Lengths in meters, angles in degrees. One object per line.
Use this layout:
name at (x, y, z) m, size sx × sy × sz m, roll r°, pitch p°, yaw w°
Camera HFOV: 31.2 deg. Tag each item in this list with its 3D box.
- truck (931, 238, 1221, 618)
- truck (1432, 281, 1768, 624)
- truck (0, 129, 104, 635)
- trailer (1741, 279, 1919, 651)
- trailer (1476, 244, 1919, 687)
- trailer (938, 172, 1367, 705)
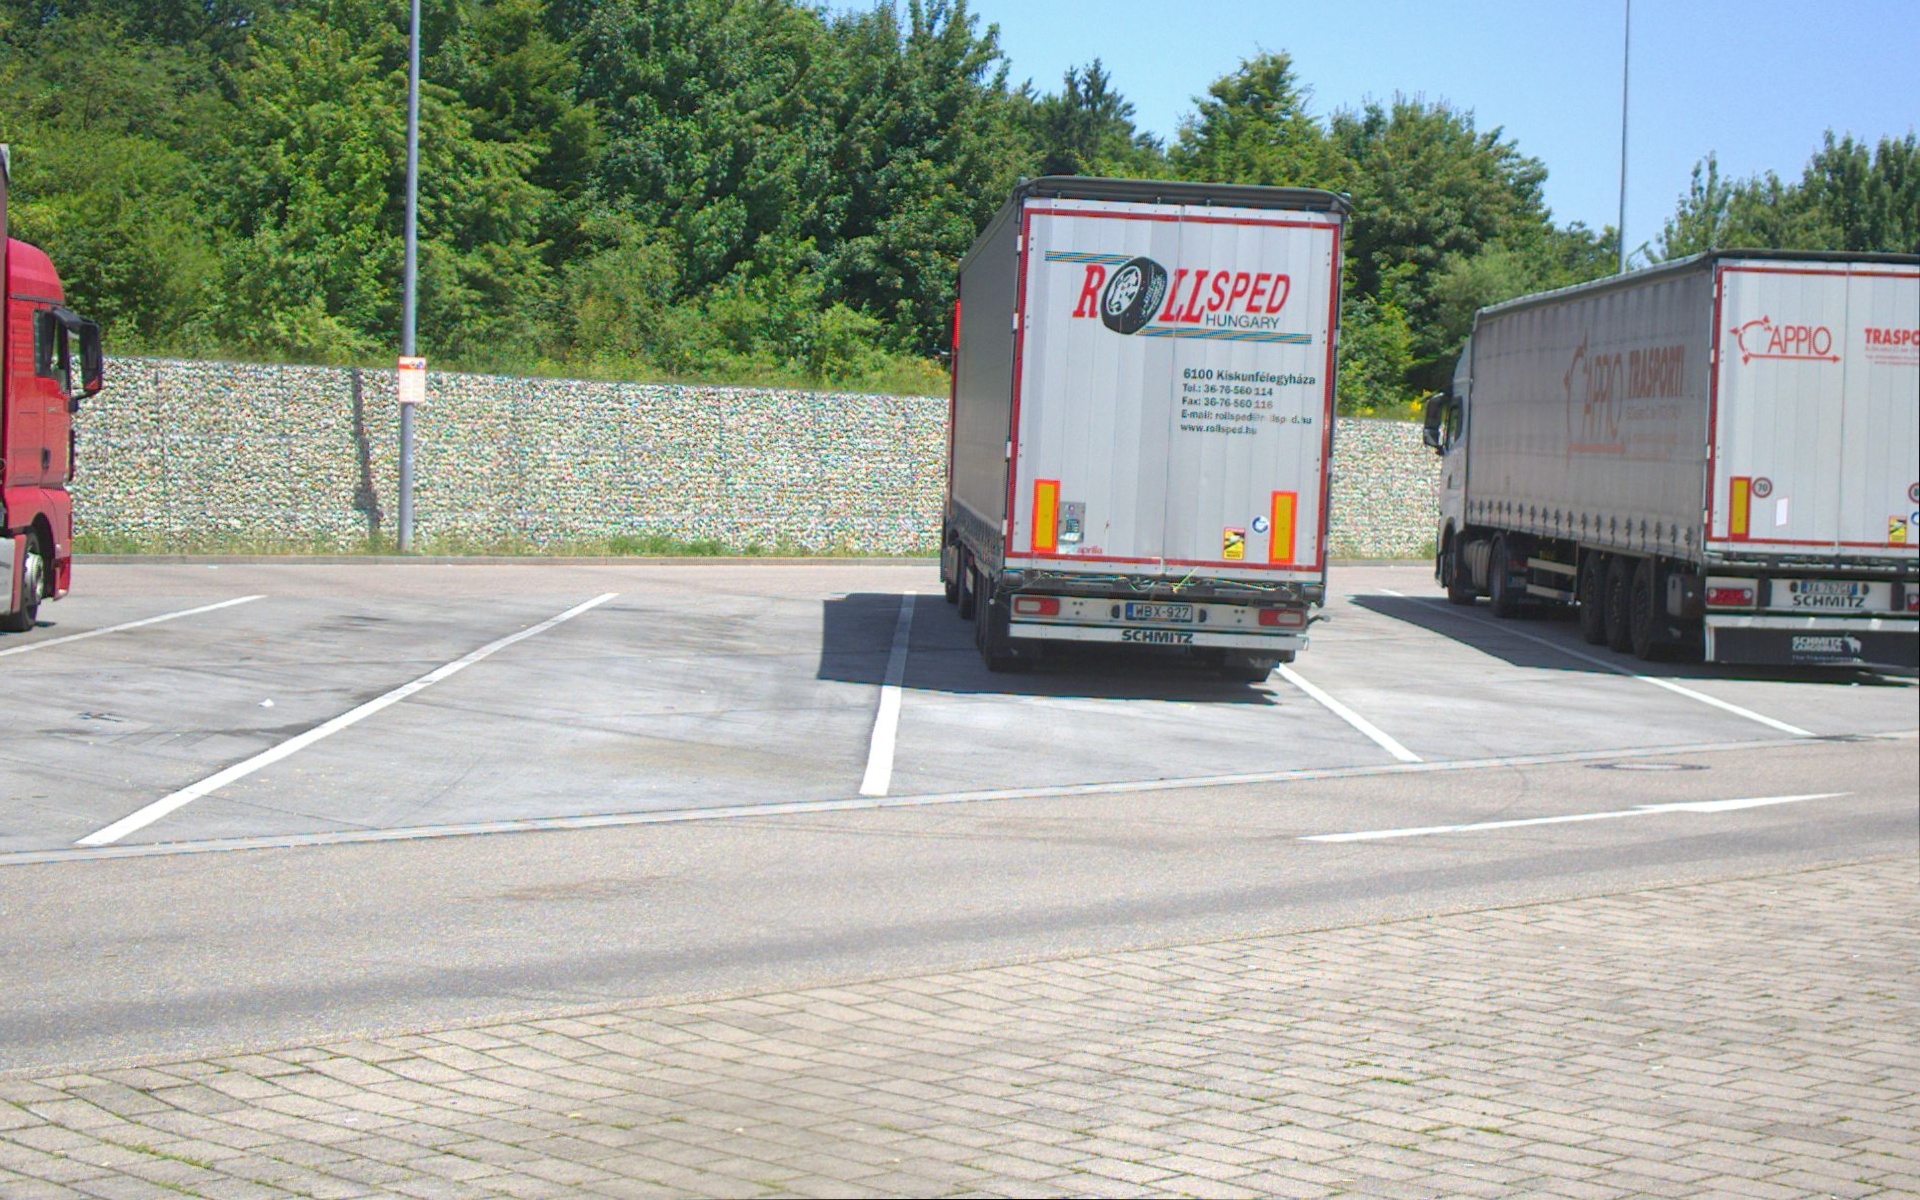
truck at (1.225, -2.055, 40.711) m, size 2.866 × 4.023 × 7.028 m, roll 2°, pitch 3°, yaw -2°
truck at (8.122, -1.952, 44.597) m, size 2.866 × 4.023 × 6.957 m, roll 2°, pitch 3°, yaw 0°
truck at (-9.150, -1.810, 27.993) m, size 2.696 × 4.099 × 6.240 m, roll 2°, pitch 3°, yaw 0°
trailer at (11.837, -1.530, 39.034) m, size 2.866 × 4.023 × 12.439 m, roll 2°, pitch 3°, yaw 0°
trailer at (8.182, -1.569, 37.970) m, size 2.866 × 4.023 × 12.439 m, roll 2°, pitch 3°, yaw 0°
trailer at (1.437, -1.636, 33.632) m, size 2.866 × 4.023 × 14.243 m, roll 2°, pitch 3°, yaw -2°
